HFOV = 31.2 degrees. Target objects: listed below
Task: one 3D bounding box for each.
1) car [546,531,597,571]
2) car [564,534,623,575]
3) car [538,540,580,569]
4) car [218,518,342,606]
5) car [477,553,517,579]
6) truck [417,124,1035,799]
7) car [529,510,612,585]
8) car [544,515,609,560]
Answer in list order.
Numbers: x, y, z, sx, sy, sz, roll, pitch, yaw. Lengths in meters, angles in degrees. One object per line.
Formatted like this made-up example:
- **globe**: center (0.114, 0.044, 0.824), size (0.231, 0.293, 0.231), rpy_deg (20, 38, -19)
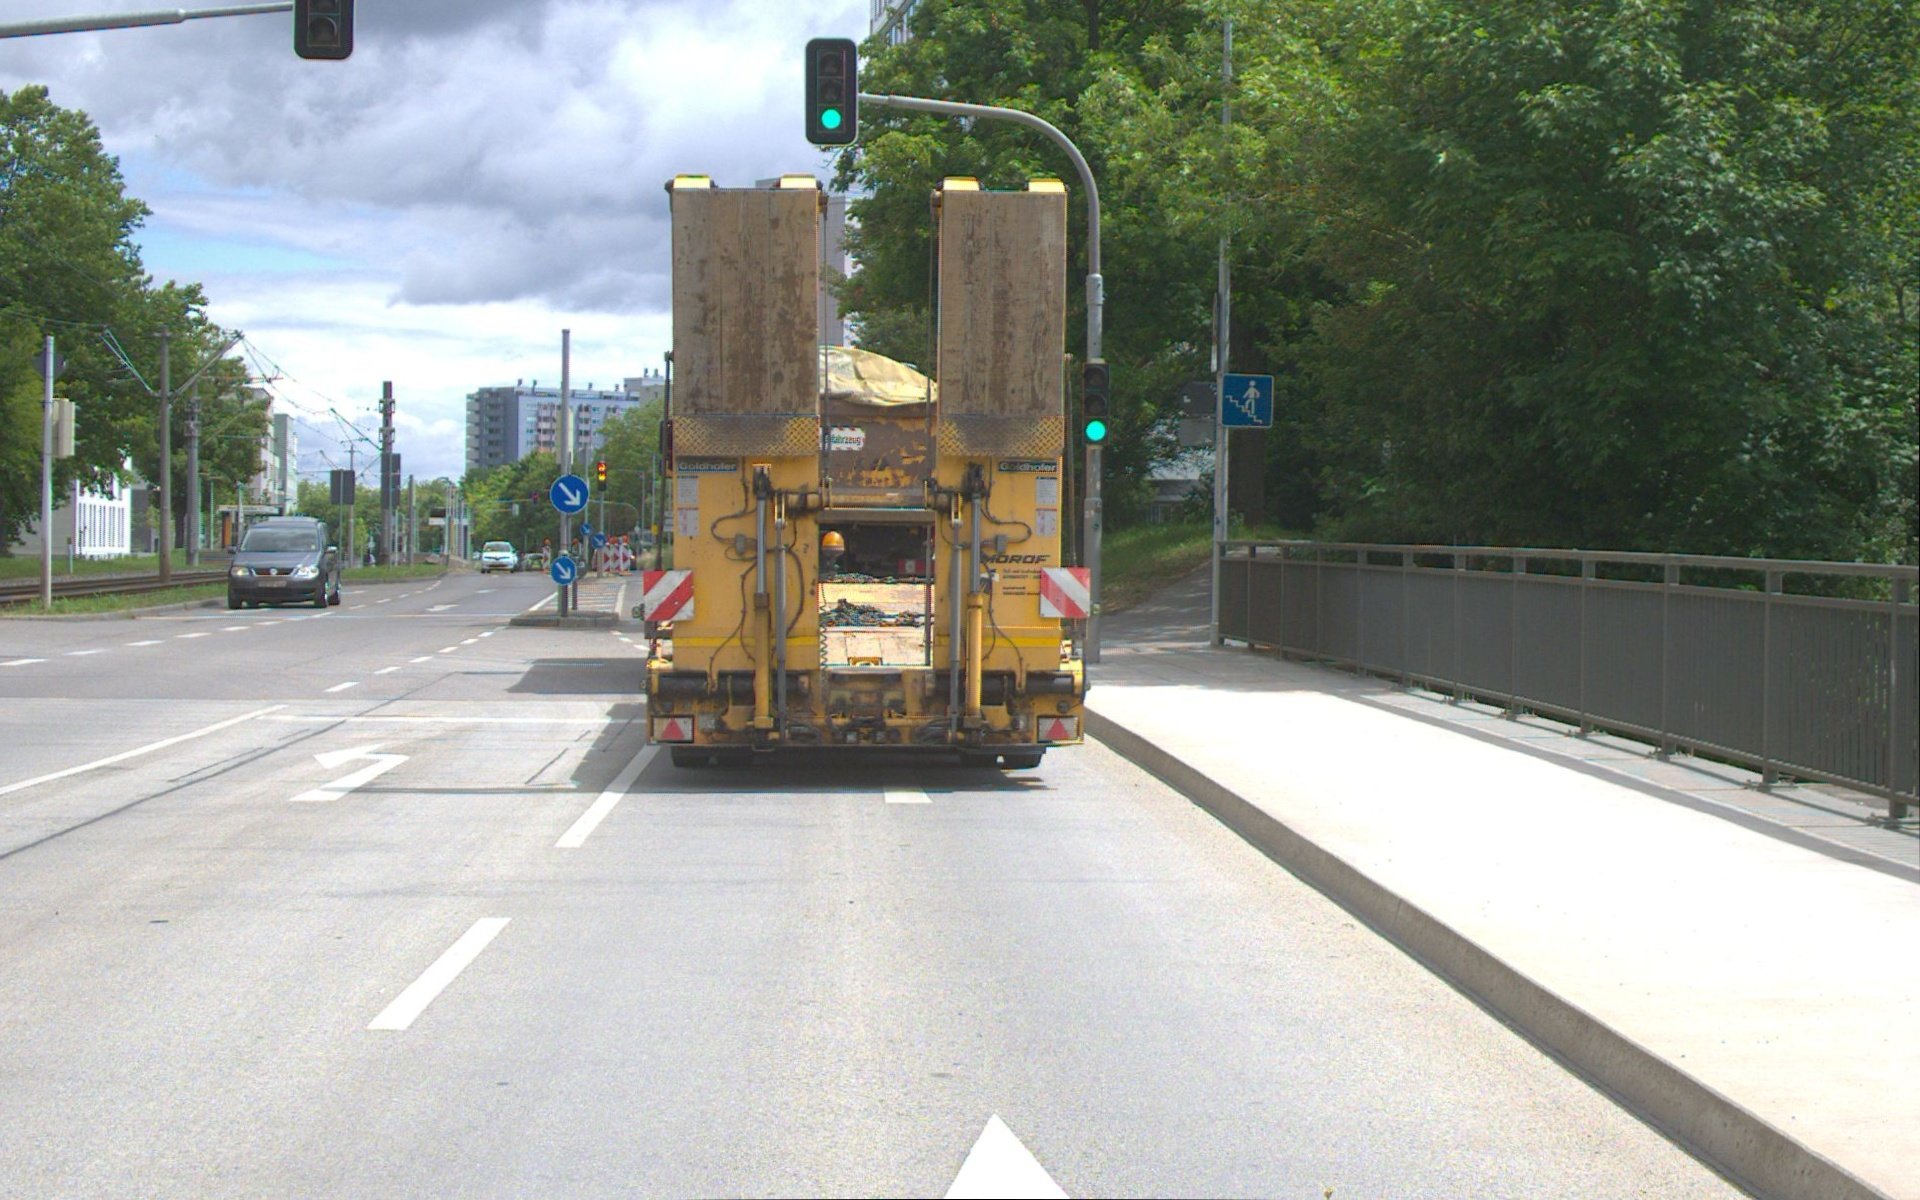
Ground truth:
- **car**: center (-17.175, -2.180, 152.282), size (1.993, 1.612, 4.001), rpy_deg (3, 1, -4)
- **car**: center (-13.602, -1.698, 127.805), size (1.993, 1.415, 4.001), rpy_deg (3, 1, -4)
- **car**: center (-18.240, -2.092, 156.479), size (1.783, 1.267, 4.346), rpy_deg (1, 1, -5)
- **car**: center (-12.610, -0.724, 63.964), size (1.783, 1.564, 4.346), rpy_deg (1, 1, -5)
- **car**: center (-23.316, -1.729, 173.331), size (1.783, 1.267, 4.346), rpy_deg (1, 1, -5)
- **truck**: center (-1.173, -0.873, 25.480), size (3.316, 3.638, 12.562), rpy_deg (2, 1, 1)
- **car**: center (-10.704, -1.461, 94.693), size (1.993, 1.919, 4.001), rpy_deg (3, 1, -4)
- **car**: center (-13.115, -2.142, 117.808), size (1.993, 1.415, 4.001), rpy_deg (3, 1, -4)
